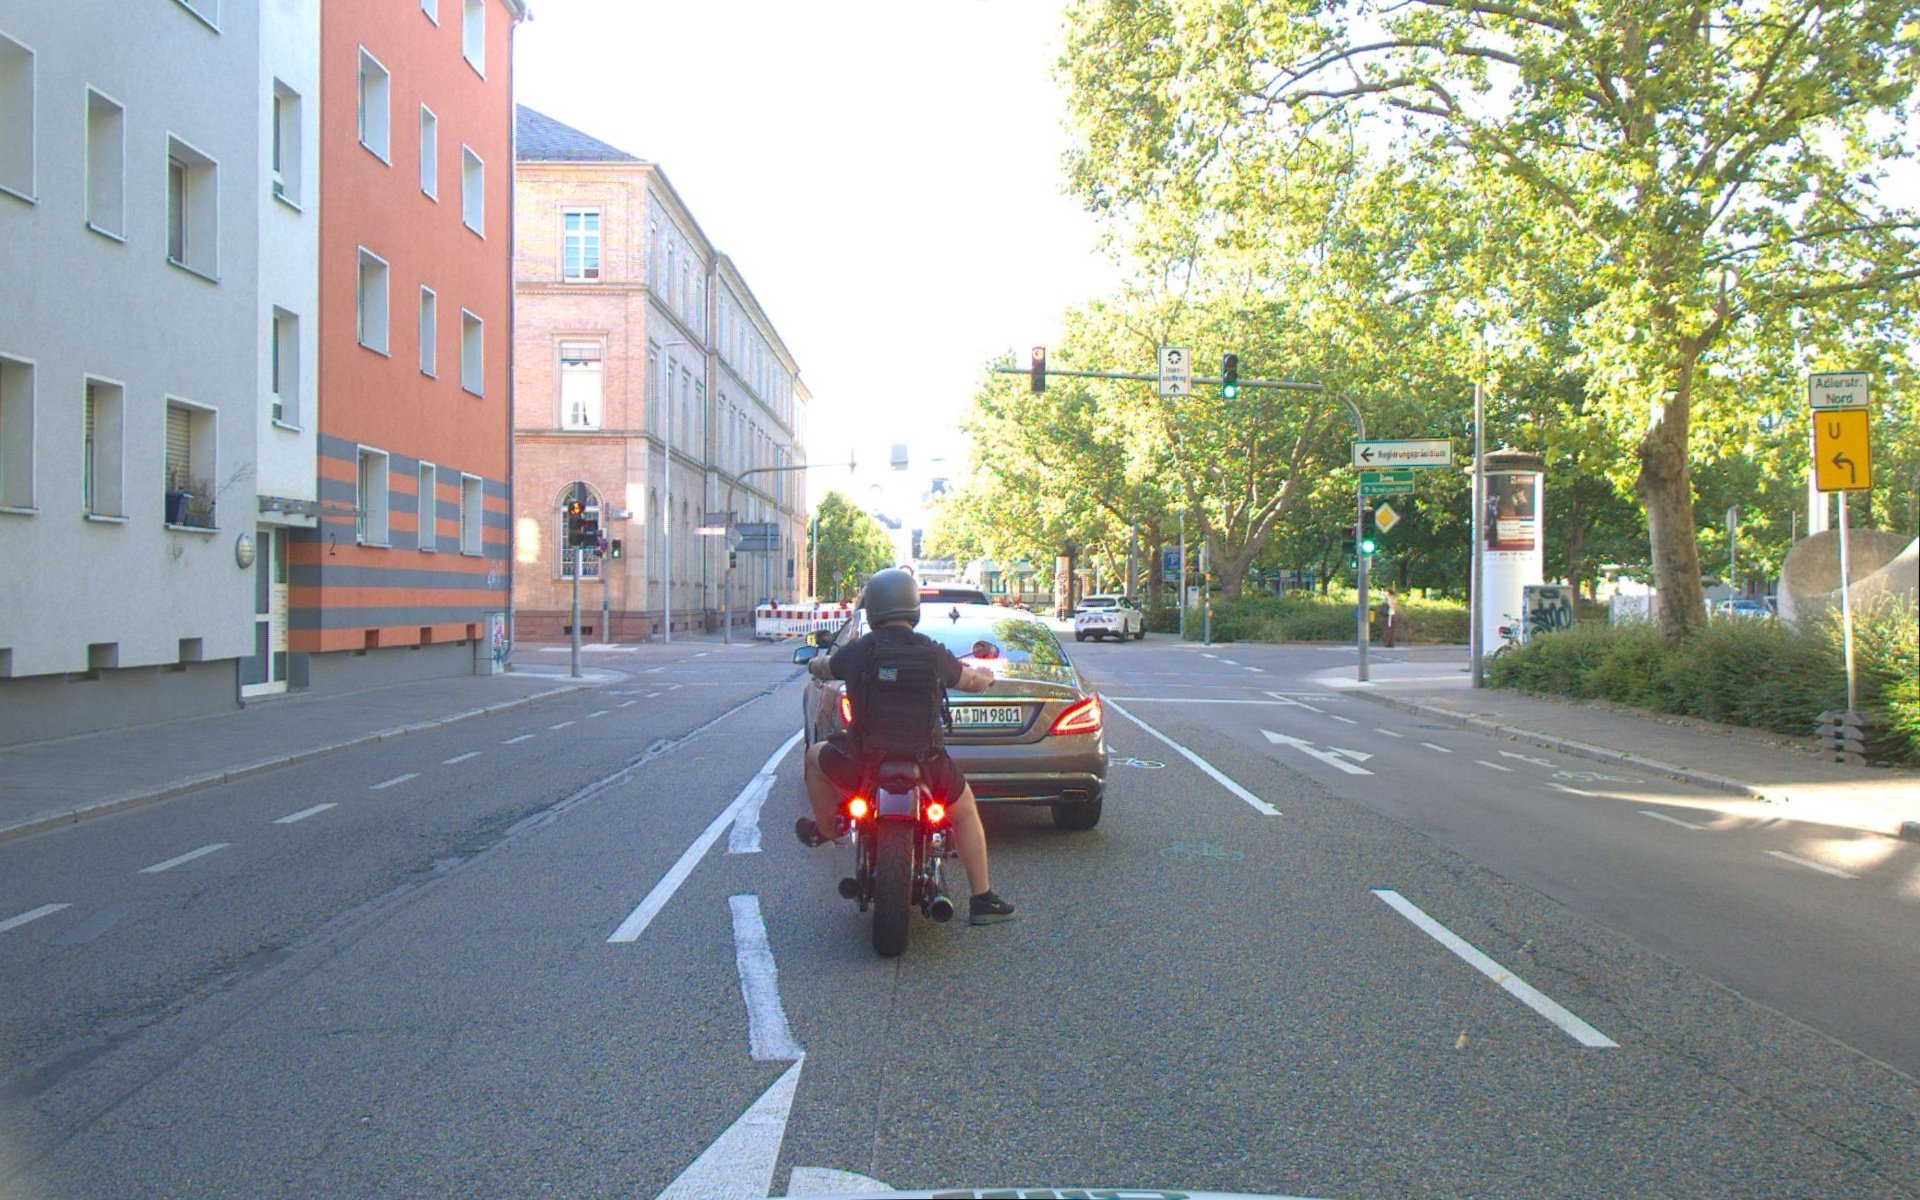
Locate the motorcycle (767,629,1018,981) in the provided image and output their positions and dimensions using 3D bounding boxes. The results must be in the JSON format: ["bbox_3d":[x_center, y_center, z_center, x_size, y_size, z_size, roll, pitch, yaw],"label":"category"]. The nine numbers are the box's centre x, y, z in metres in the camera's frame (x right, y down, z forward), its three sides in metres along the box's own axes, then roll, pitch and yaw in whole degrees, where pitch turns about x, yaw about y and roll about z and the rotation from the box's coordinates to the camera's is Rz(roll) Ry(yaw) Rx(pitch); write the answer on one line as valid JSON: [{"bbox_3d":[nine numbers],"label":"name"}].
[{"bbox_3d":[-0.276,0.811,7.568,0.961,1.297,2.407,0,0,-1],"label":"motorcycle"}]

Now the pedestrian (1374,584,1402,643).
[{"bbox_3d":[13.141,0.412,50.779,0.664,1.803,0.616,1,-1,29],"label":"pedestrian"}]

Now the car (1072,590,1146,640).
[{"bbox_3d":[5.591,0.525,61.629,1.902,1.738,4.486,2,0,16],"label":"car"}]

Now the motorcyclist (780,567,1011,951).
[{"bbox_3d":[-0.278,0.661,7.547,0.961,1.606,1.248,0,0,-1],"label":"motorcyclist"}]

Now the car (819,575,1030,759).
[{"bbox_3d":[-0.361,0.638,17.550,1.953,1.695,3.999,1,0,-1],"label":"car"}]

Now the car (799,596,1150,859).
[{"bbox_3d":[-0.113,0.714,11.630,1.834,1.469,4.422,0,0,-8],"label":"car"}]

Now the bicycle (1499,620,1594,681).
[{"bbox_3d":[9.789,0.840,27.606,1.452,0.997,0.299,1,-1,5],"label":"bicycle"}]
